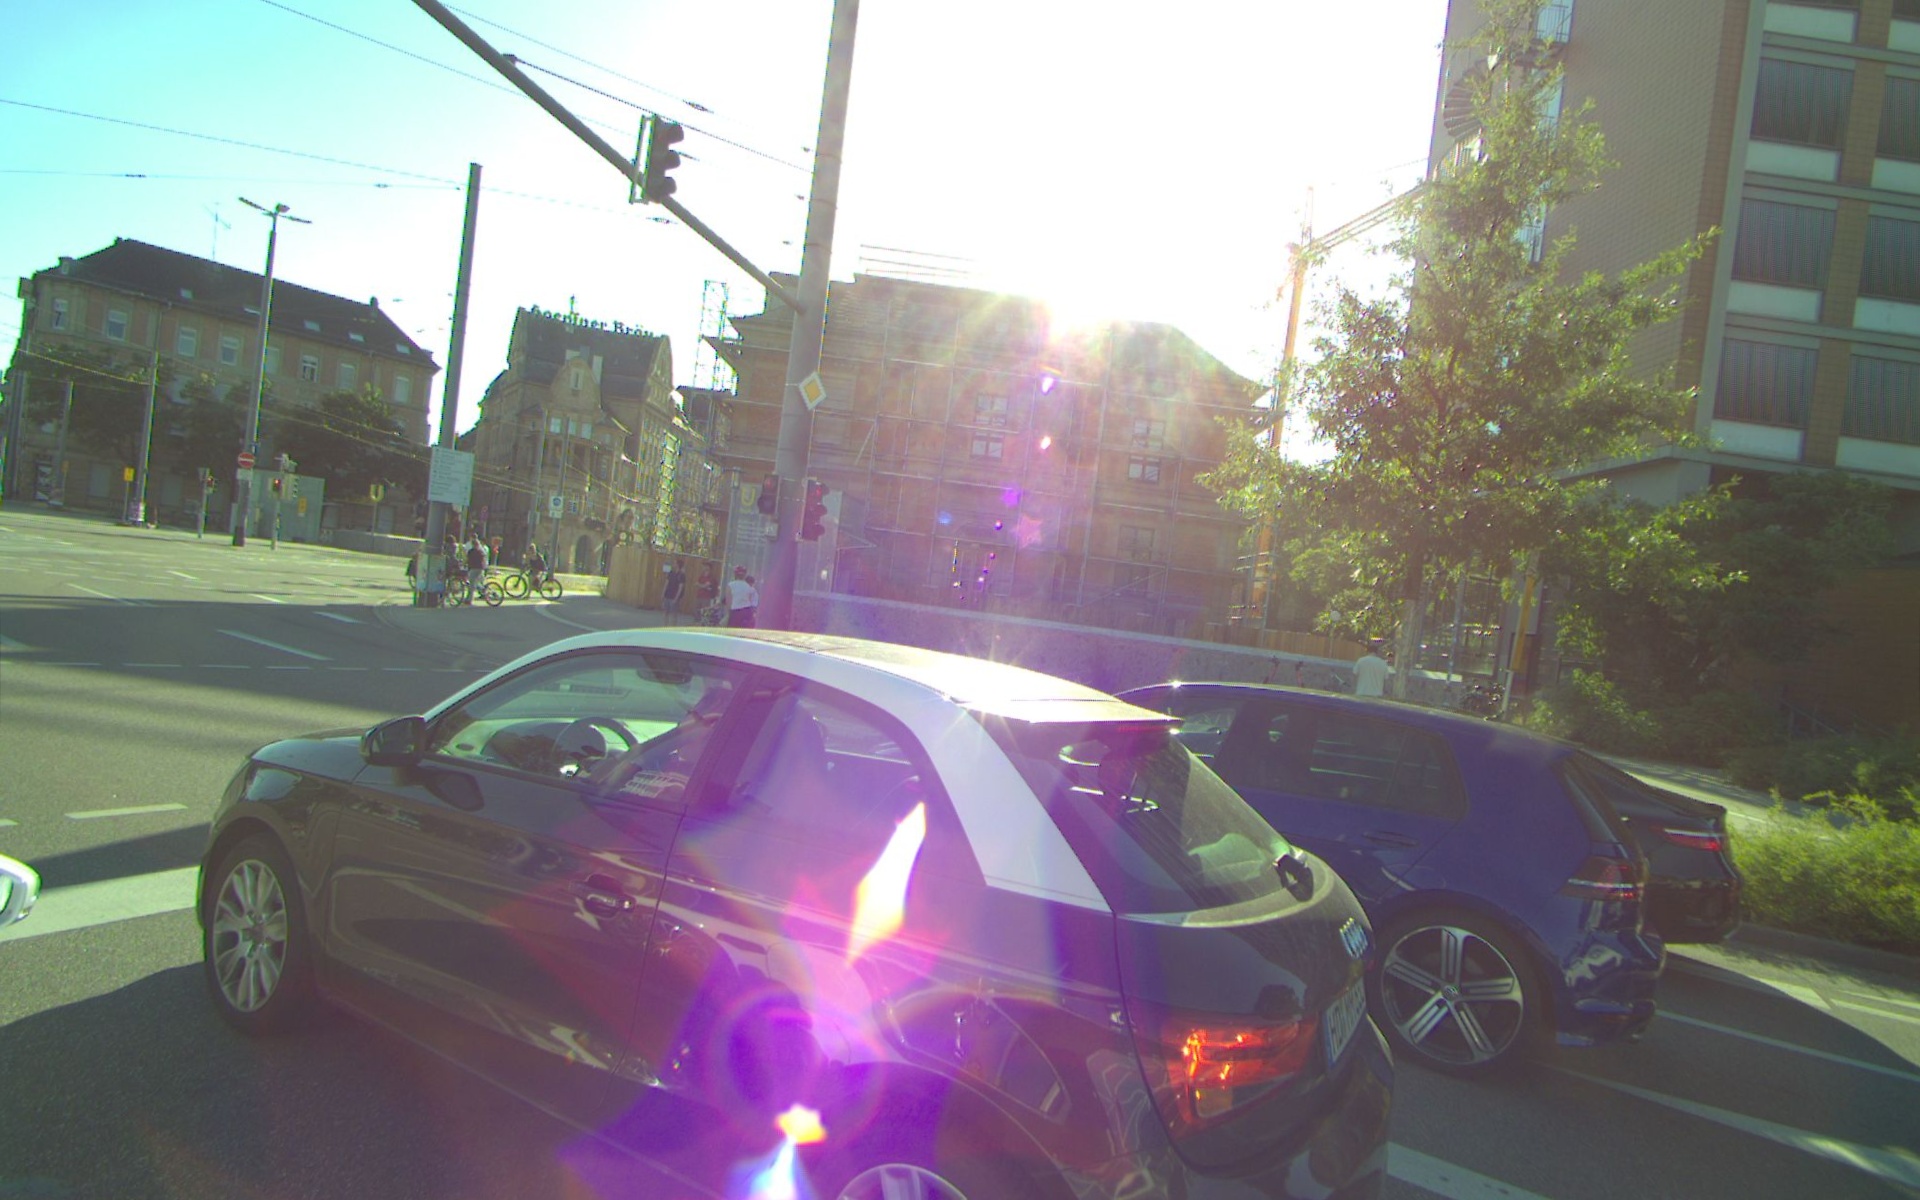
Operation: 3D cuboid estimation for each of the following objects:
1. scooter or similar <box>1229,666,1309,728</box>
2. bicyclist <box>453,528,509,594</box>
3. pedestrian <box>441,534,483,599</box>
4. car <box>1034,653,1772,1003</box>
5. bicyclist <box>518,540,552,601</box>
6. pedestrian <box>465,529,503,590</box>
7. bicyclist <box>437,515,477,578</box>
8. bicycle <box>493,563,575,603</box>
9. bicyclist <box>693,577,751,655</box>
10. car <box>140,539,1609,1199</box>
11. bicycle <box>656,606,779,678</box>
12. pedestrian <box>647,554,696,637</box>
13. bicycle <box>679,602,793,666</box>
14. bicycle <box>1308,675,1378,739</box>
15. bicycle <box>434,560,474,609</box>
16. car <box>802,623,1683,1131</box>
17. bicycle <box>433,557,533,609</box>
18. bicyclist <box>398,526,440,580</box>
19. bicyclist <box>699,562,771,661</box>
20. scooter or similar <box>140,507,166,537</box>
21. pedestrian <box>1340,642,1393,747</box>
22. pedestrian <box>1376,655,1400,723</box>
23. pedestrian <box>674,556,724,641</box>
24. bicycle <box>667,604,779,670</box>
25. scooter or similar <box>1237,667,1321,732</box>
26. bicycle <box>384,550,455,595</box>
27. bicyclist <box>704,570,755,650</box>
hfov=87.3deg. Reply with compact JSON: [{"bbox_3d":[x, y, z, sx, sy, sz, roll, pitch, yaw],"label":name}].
[{"bbox_3d":[5.982,1.866,19.491,1.346,1.007,0.343,7,-1,13],"label":"scooter or similar"},{"bbox_3d":[-12.647,-1.011,26.587,0.929,1.575,0.711,7,-1,8],"label":"bicyclist"},{"bbox_3d":[-16.557,-1.117,33.448,0.748,2.037,0.733,7,-1,25],"label":"pedestrian"},{"bbox_3d":[2.984,1.412,7.490,4.436,1.420,1.727,6,-2,31],"label":"car"},{"bbox_3d":[-13.381,-0.921,31.698,0.785,1.800,0.520,8,-1,-23],"label":"bicyclist"},{"bbox_3d":[-16.160,-1.376,34.170,0.678,1.945,0.649,7,-1,25],"label":"pedestrian"},{"bbox_3d":[-12.611,-1.320,25.219,0.702,1.456,0.940,8,-1,-29],"label":"bicyclist"},{"bbox_3d":[-13.419,-0.529,31.715,2.289,1.063,0.532,5,2,-25],"label":"bicycle"},{"bbox_3d":[-4.404,0.295,18.611,0.662,1.330,0.617,7,-1,27],"label":"bicyclist"},{"bbox_3d":[-0.532,0.765,2.969,3.934,1.420,1.627,6,-2,32],"label":"car"},{"bbox_3d":[-4.183,0.722,17.311,1.999,0.974,0.660,6,-1,27],"label":"bicycle"},{"bbox_3d":[-6.682,-0.105,23.321,0.672,1.830,0.672,7,2,11],"label":"pedestrian"},{"bbox_3d":[-4.402,0.654,19.794,1.997,0.976,0.660,7,2,5],"label":"bicycle"},{"bbox_3d":[7.078,1.967,18.620,0.352,1.015,1.149,8,-2,-29],"label":"bicycle"},{"bbox_3d":[-12.681,-0.408,25.156,0.693,1.061,2.303,9,-1,-29],"label":"bicycle"},{"bbox_3d":[1.268,1.098,5.346,3.934,1.420,1.627,6,-2,32],"label":"car"},{"bbox_3d":[-12.596,-0.443,26.569,2.276,1.061,0.702,7,-1,8],"label":"bicycle"},{"bbox_3d":[-16.859,-1.464,31.367,0.930,1.575,0.516,7,-1,24],"label":"bicyclist"},{"bbox_3d":[-3.841,0.200,17.189,0.781,1.571,0.668,7,-1,27],"label":"bicyclist"},{"bbox_3d":[-41.971,-4.060,52.315,0.784,1.392,1.885,8,-2,-44],"label":"scooter or similar"},{"bbox_3d":[6.847,1.567,16.936,0.592,1.662,0.677,7,3,29],"label":"pedestrian"},{"bbox_3d":[11.480,2.382,26.976,0.369,1.752,0.444,7,-1,17],"label":"pedestrian"},{"bbox_3d":[-6.008,-0.022,23.164,0.672,1.828,0.672,7,-1,11],"label":"pedestrian"},{"bbox_3d":[-4.389,0.674,18.588,1.999,0.976,0.659,6,2,27],"label":"bicycle"},{"bbox_3d":[5.915,1.831,18.664,1.348,1.007,0.342,7,-1,25],"label":"scooter or similar"},{"bbox_3d":[-16.843,-0.865,31.318,2.278,1.061,0.536,8,-1,24],"label":"bicycle"},{"bbox_3d":[-4.531,0.210,19.803,0.661,1.471,0.618,7,-1,3],"label":"bicyclist"}]
